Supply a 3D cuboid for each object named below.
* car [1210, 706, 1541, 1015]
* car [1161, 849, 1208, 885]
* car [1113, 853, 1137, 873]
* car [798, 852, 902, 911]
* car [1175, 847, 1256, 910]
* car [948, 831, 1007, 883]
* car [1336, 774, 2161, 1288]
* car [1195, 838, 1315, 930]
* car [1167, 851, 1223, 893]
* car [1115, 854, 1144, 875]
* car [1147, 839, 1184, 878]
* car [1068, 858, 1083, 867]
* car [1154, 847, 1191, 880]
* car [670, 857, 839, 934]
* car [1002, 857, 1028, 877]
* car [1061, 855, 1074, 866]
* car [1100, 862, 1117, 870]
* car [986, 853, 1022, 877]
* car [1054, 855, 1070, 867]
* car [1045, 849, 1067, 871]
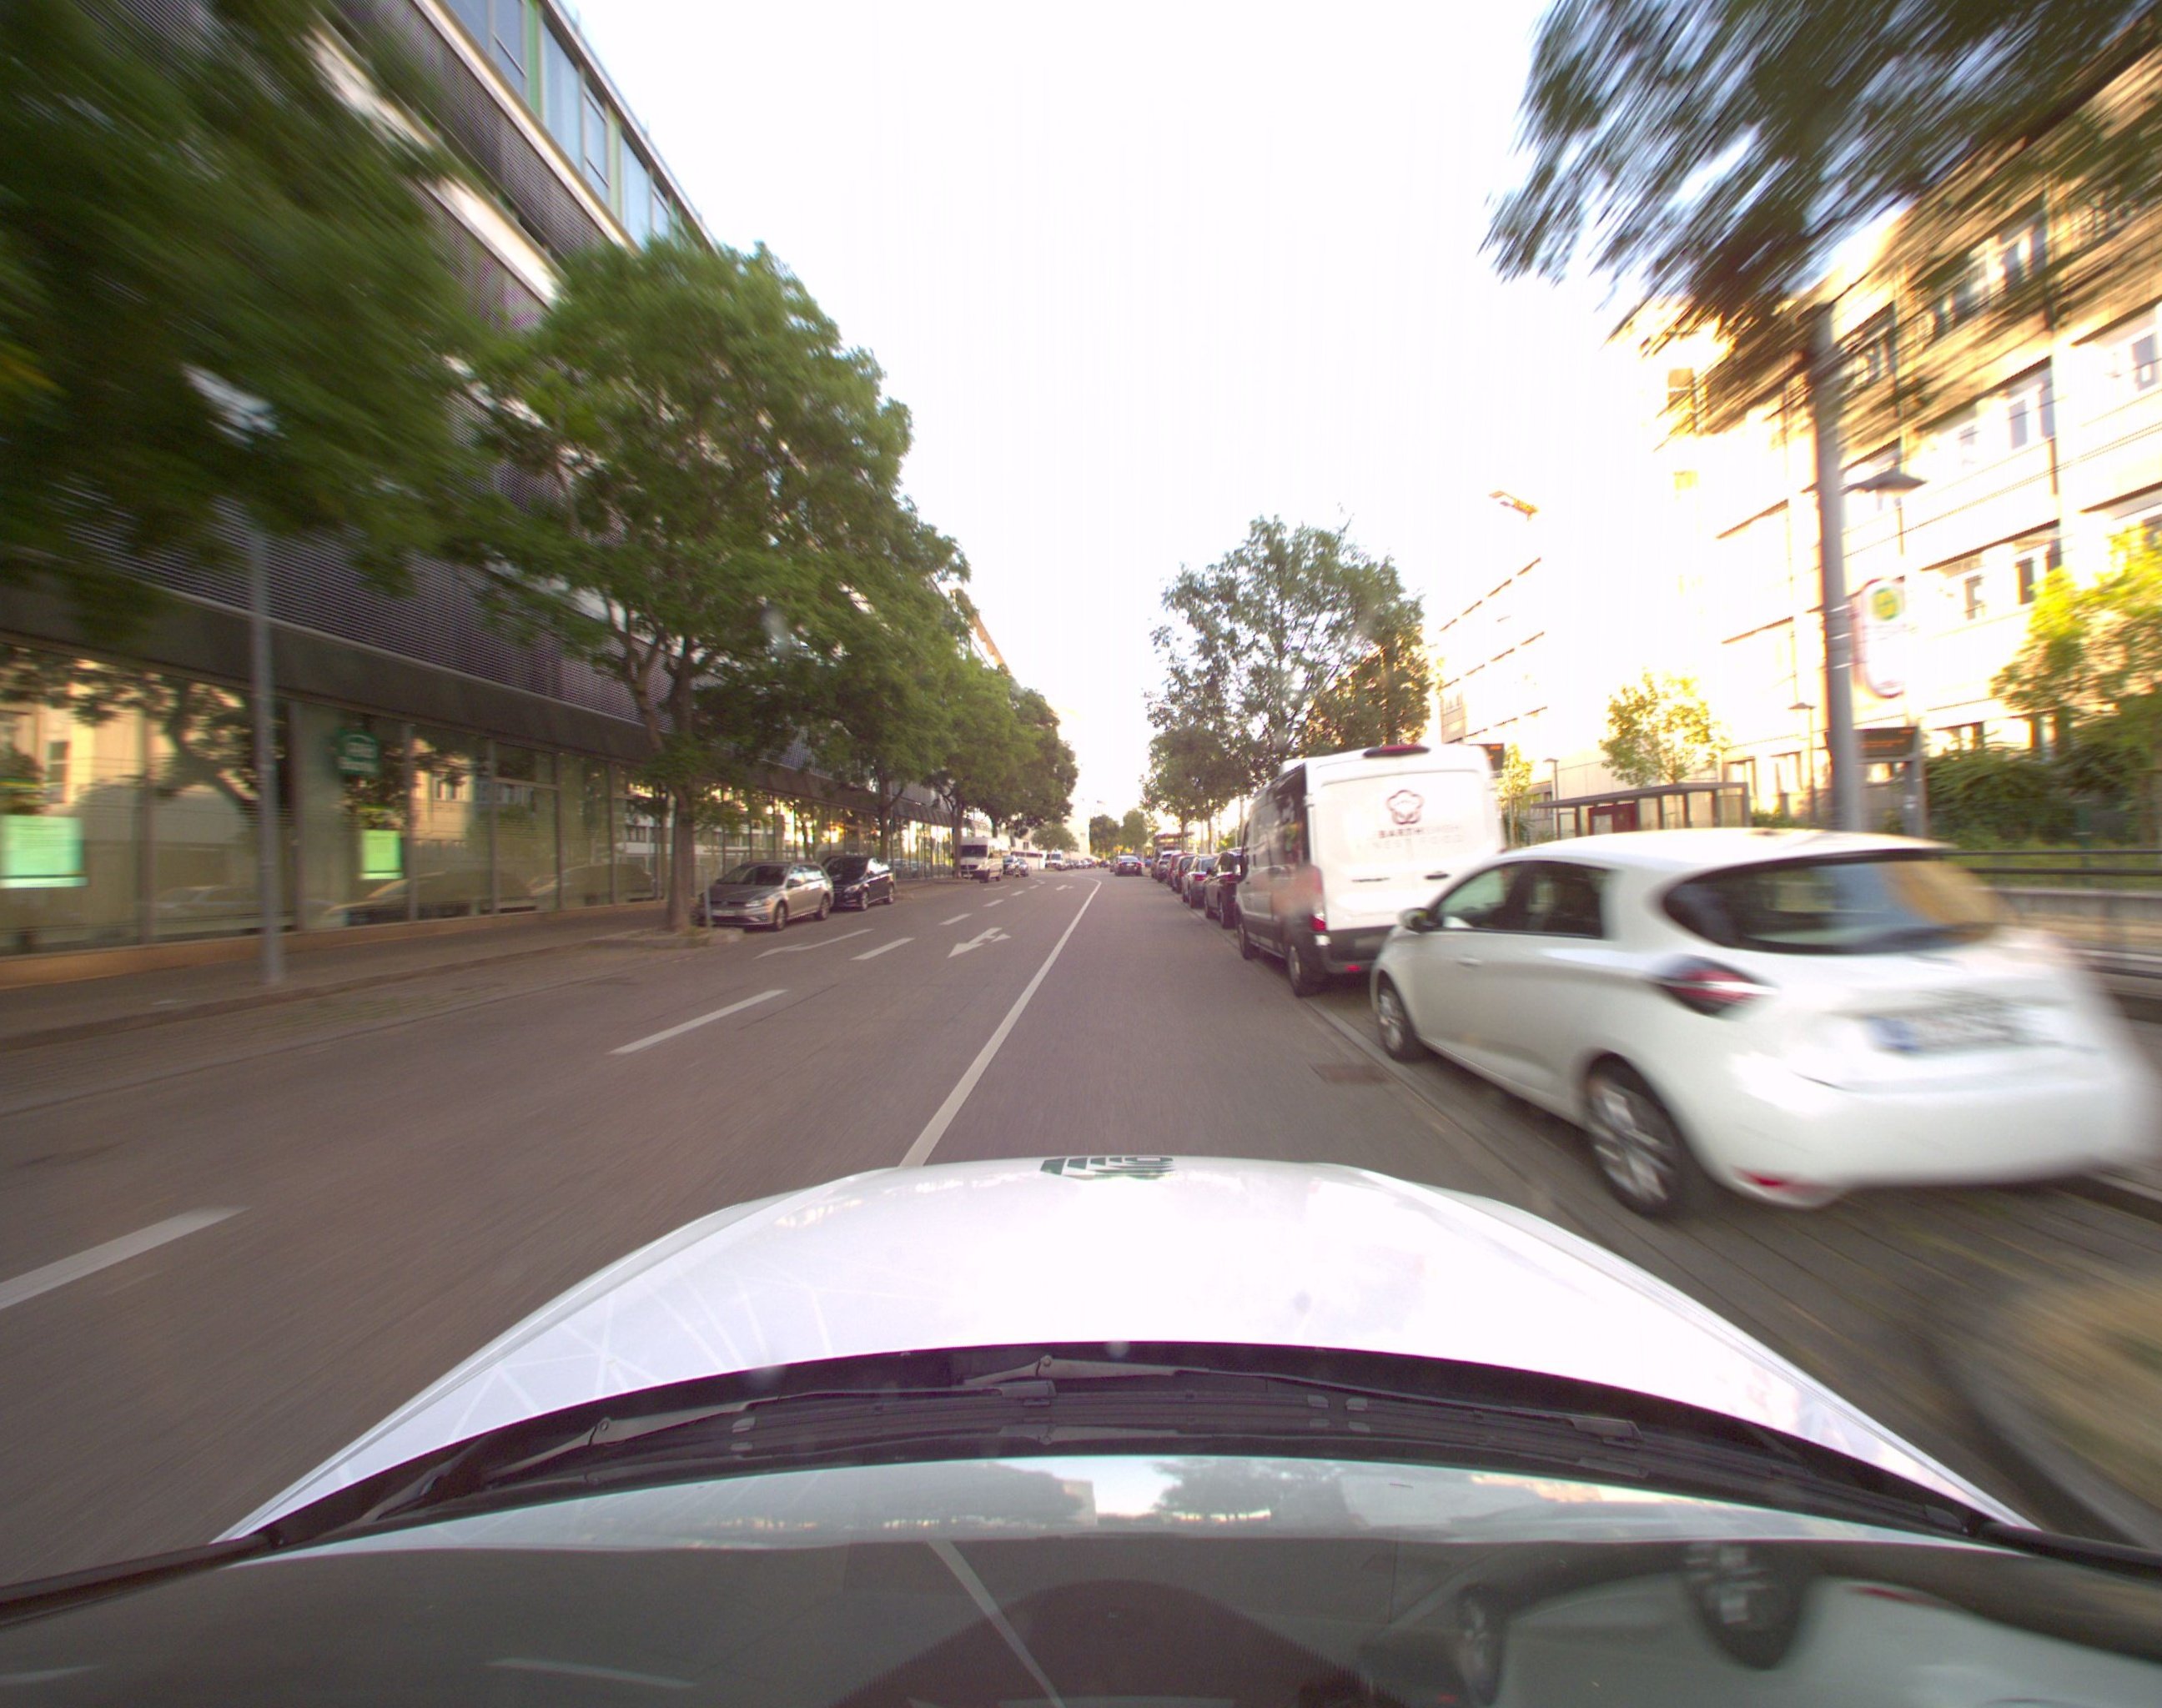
[{"bbox_3d":[3.124,0.073,10.165,2.044,2.657,5.435,-5,0,1],"label":"car"},{"bbox_3d":[4.799,0.594,38.151,1.701,1.493,4.132,-4,-1,2],"label":"car"},{"bbox_3d":[3.522,0.716,65.655,1.671,1.452,4.186,-2,-1,0],"label":"car"},{"bbox_3d":[-6.735,0.740,24.235,1.583,1.568,4.474,1,0,2],"label":"car"},{"bbox_3d":[3.821,0.652,23.946,1.788,1.496,4.785,-5,0,4],"label":"car"},{"bbox_3d":[-5.768,0.177,46.476,2.092,2.664,6.956,-2,0,3],"label":"car"},{"bbox_3d":[3.047,0.595,4.743,1.742,1.583,4.012,-5,0,0],"label":"car"},{"bbox_3d":[3.602,0.589,17.597,1.701,1.643,4.269,-4,-1,2],"label":"car"},{"bbox_3d":[4.393,0.672,31.930,1.701,1.451,4.002,-4,-1,2],"label":"car"},{"bbox_3d":[3.498,0.748,59.679,1.782,1.452,4.514,-2,0,0],"label":"car"},{"bbox_3d":[5.137,0.277,49.899,1.797,2.176,4.738,-4,-1,2],"label":"car"},{"bbox_3d":[-0.848,1.358,128.846,1.712,1.457,4.282,0,0,9],"label":"car"},{"bbox_3d":[4.812,0.511,43.416,1.700,1.580,4.483,-4,-1,4],"label":"car"},{"bbox_3d":[-7.046,0.816,18.179,1.696,1.461,4.629,1,0,2],"label":"car"},{"bbox_3d":[-5.058,0.976,62.814,1.710,1.452,4.396,-2,0,-2],"label":"car"},{"bbox_3d":[-1.996,0.923,120.665,1.749,1.653,3.950,0,0,2],"label":"car"},{"bbox_3d":[5.040,2.224,149.645,1.928,1.382,4.420,0,0,19],"label":"car"},{"bbox_3d":[-5.339,0.722,56.935,1.836,1.571,4.270,-2,0,3],"label":"car"},{"bbox_3d":[-2.462,0.902,105.827,1.748,1.439,3.904,0,0,3],"label":"car"},{"bbox_3d":[-3.021,0.673,99.289,1.949,2.617,6.900,0,0,4],"label":"car"}]
